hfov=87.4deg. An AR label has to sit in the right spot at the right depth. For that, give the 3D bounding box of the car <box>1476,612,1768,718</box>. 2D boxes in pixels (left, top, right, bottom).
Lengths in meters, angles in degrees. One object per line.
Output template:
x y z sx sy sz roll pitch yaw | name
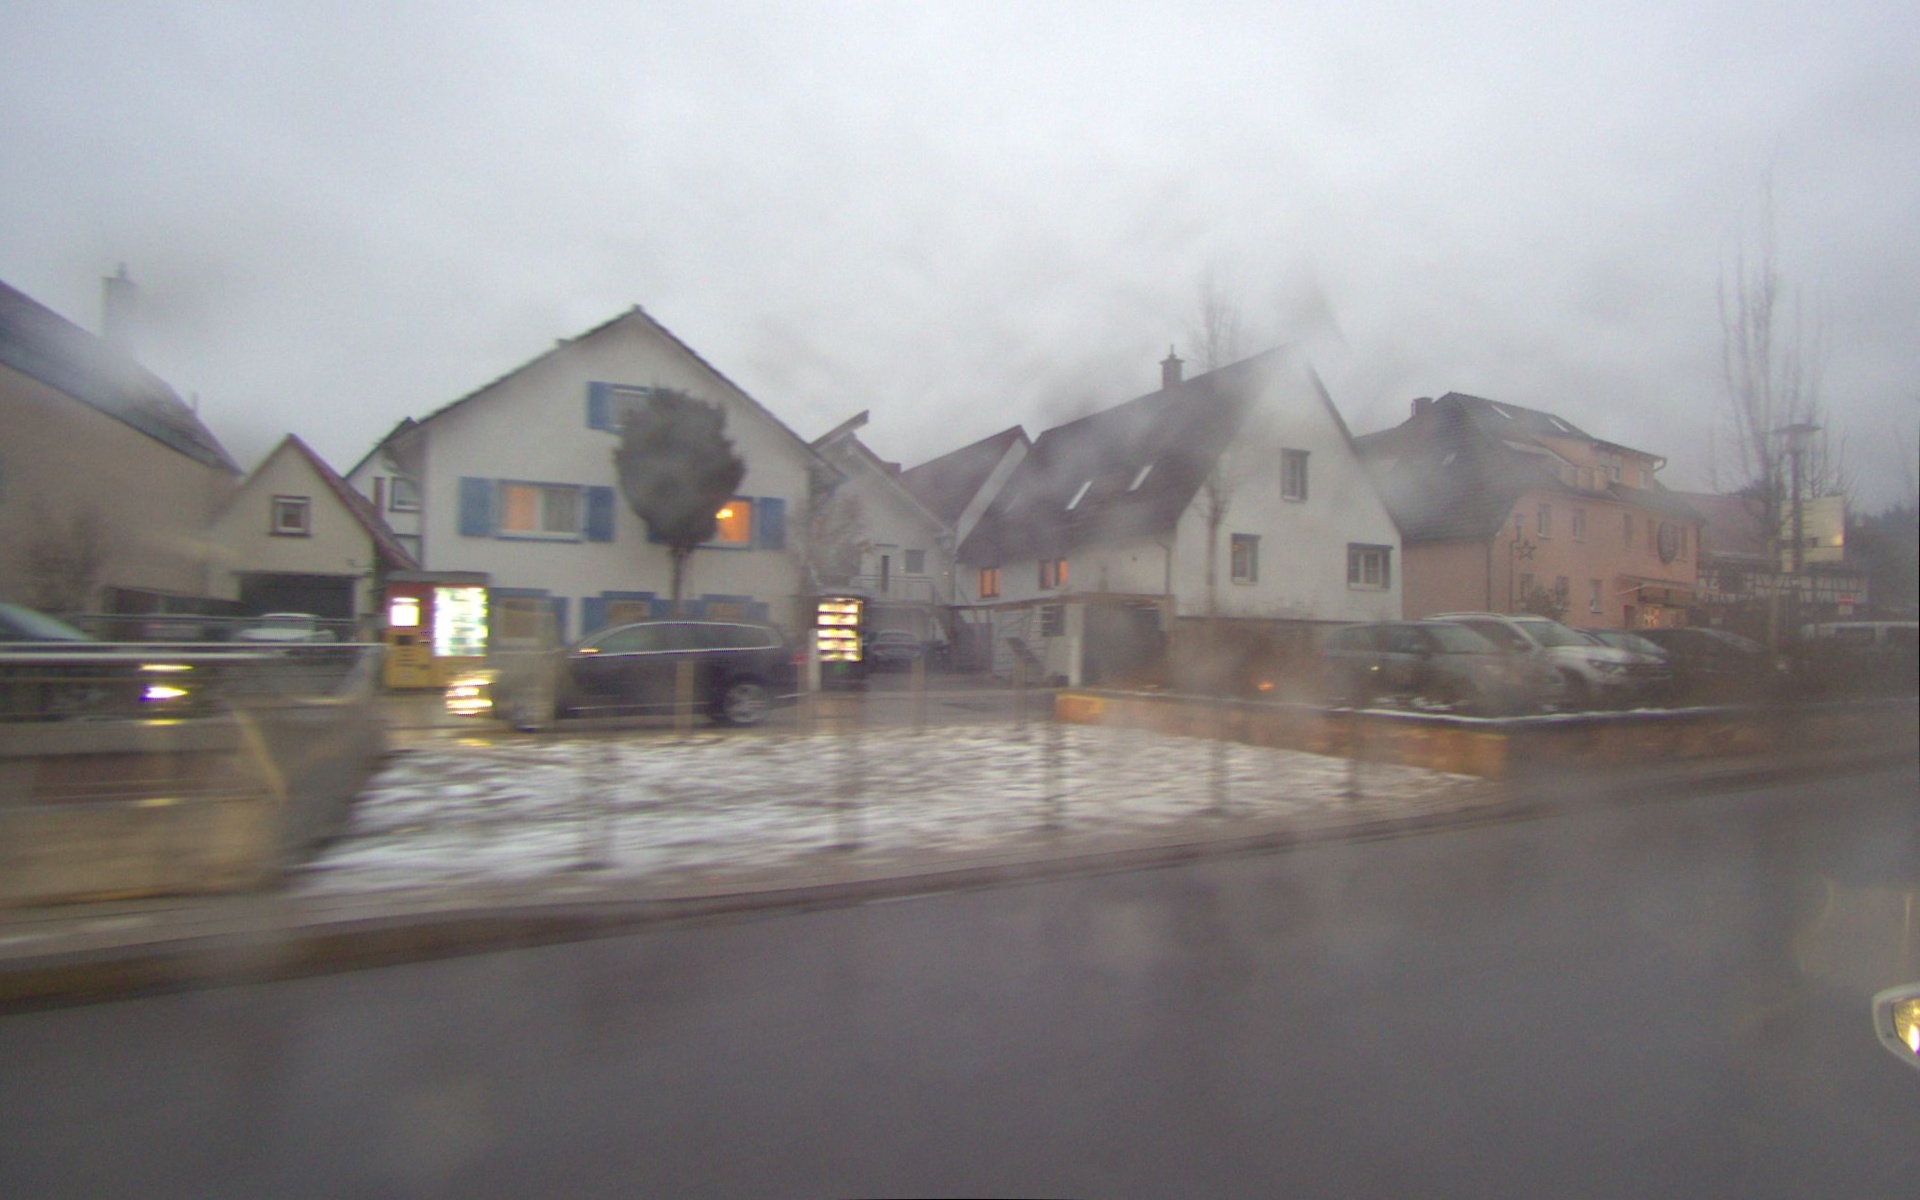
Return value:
11.463 1.054 17.727 1.566 1.629 4.080 2 -1 -26 | car

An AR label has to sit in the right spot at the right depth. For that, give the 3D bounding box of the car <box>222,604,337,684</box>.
-18.619 1.234 27.654 1.810 2.045 3.566 1 -3 -21 | car

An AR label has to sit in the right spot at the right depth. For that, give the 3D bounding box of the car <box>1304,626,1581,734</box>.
6.989 1.096 14.870 1.582 1.390 3.429 2 -2 -30 | car

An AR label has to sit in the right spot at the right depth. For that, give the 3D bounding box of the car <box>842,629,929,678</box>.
-2.647 1.825 34.912 1.890 1.516 3.923 2 -2 -22 | car

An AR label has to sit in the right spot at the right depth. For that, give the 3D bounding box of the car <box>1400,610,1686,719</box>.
9.308 0.962 16.376 1.690 1.543 3.785 2 -1 -23 | car

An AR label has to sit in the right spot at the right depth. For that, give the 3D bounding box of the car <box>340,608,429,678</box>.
-16.341 1.254 28.684 1.651 1.865 3.647 1 -3 -21 | car

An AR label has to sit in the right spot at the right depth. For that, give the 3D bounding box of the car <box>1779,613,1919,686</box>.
23.199 1.205 24.515 1.978 1.689 4.601 2 -1 -31 | car

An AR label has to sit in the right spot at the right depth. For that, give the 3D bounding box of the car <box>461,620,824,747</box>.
-4.297 1.042 13.735 4.514 1.502 1.795 1 -2 -28 | car

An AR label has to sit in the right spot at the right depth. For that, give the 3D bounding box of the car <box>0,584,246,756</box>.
-10.533 0.742 10.663 4.501 1.723 1.751 1 -3 -24 | car

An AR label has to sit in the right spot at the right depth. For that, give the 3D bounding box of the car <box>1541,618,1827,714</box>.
13.890 1.217 19.546 1.855 1.517 4.113 4 -1 -27 | car
